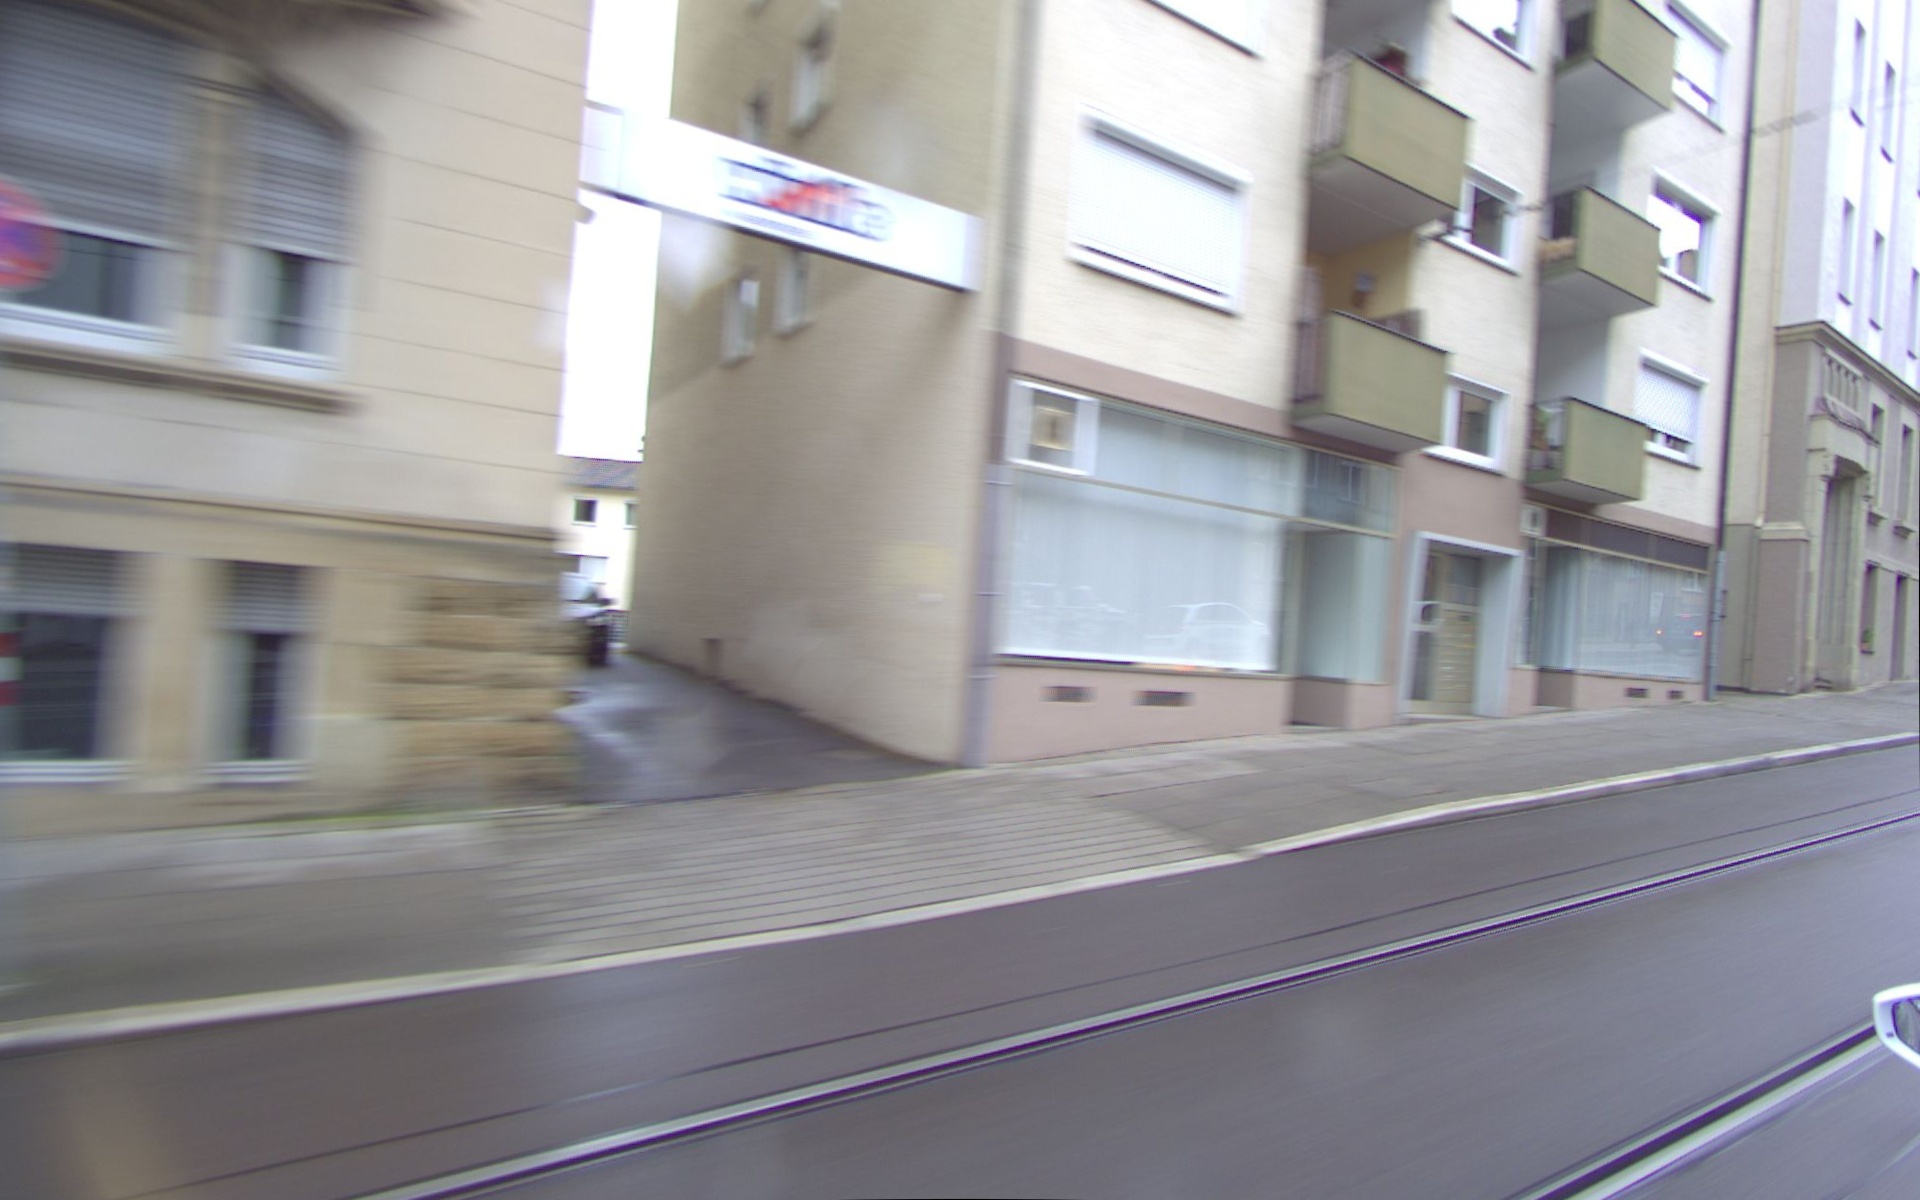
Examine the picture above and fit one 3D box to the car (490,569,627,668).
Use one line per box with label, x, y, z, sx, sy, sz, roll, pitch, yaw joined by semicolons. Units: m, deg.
car;-6.923;0.236;17.088;1.719;1.473;3.970;1;1;-28
